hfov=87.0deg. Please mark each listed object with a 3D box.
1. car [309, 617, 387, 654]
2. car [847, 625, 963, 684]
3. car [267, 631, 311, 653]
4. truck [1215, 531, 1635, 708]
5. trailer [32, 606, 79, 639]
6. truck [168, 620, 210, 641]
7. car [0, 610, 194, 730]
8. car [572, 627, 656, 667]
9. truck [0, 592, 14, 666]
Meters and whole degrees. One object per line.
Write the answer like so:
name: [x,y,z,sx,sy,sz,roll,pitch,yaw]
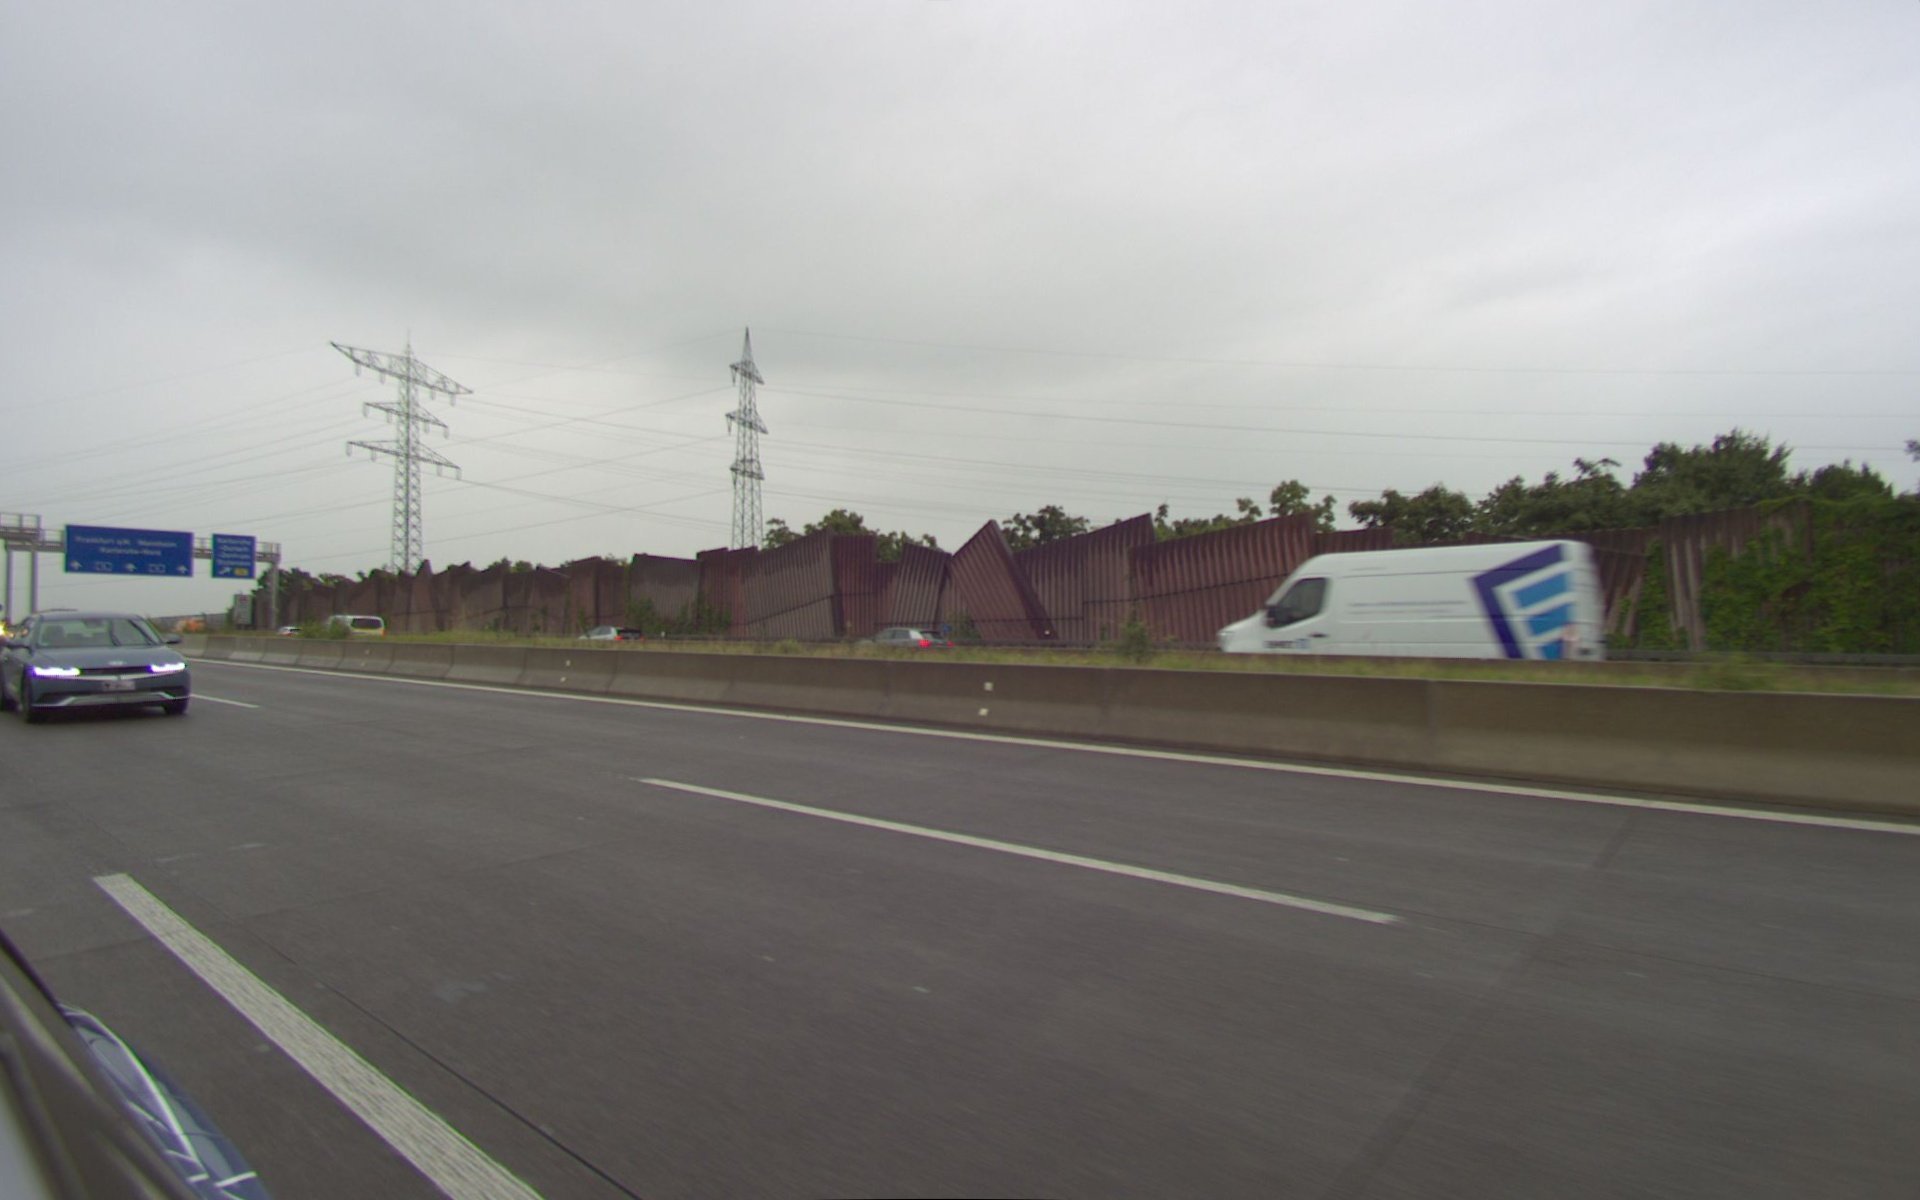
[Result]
car: [-32.241,1.839,53.219,5.206,1.798,1.973,-1,-1,40]
car: [-2.024,1.922,36.783,3.999,2.029,1.972,-1,-1,42]
car: [-54.895,3.406,82.740,4.396,1.753,1.972,-1,-1,42]
truck: [6.846,0.294,15.362,5.417,2.222,2.122,-1,-1,42]
trailer: [-122.073,3.083,136.503,13.561,4.218,3.025,-2,-1,41]
truck: [-67.844,2.683,89.020,5.014,1.753,1.972,-1,-1,42]
car: [-13.975,0.994,16.074,5.152,1.606,1.820,-1,-1,40]
car: [-16.997,2.268,49.637,4.287,1.798,1.973,-1,-1,40]
truck: [-35.134,1.043,35.322,6.576,2.498,2.215,-2,0,39]
